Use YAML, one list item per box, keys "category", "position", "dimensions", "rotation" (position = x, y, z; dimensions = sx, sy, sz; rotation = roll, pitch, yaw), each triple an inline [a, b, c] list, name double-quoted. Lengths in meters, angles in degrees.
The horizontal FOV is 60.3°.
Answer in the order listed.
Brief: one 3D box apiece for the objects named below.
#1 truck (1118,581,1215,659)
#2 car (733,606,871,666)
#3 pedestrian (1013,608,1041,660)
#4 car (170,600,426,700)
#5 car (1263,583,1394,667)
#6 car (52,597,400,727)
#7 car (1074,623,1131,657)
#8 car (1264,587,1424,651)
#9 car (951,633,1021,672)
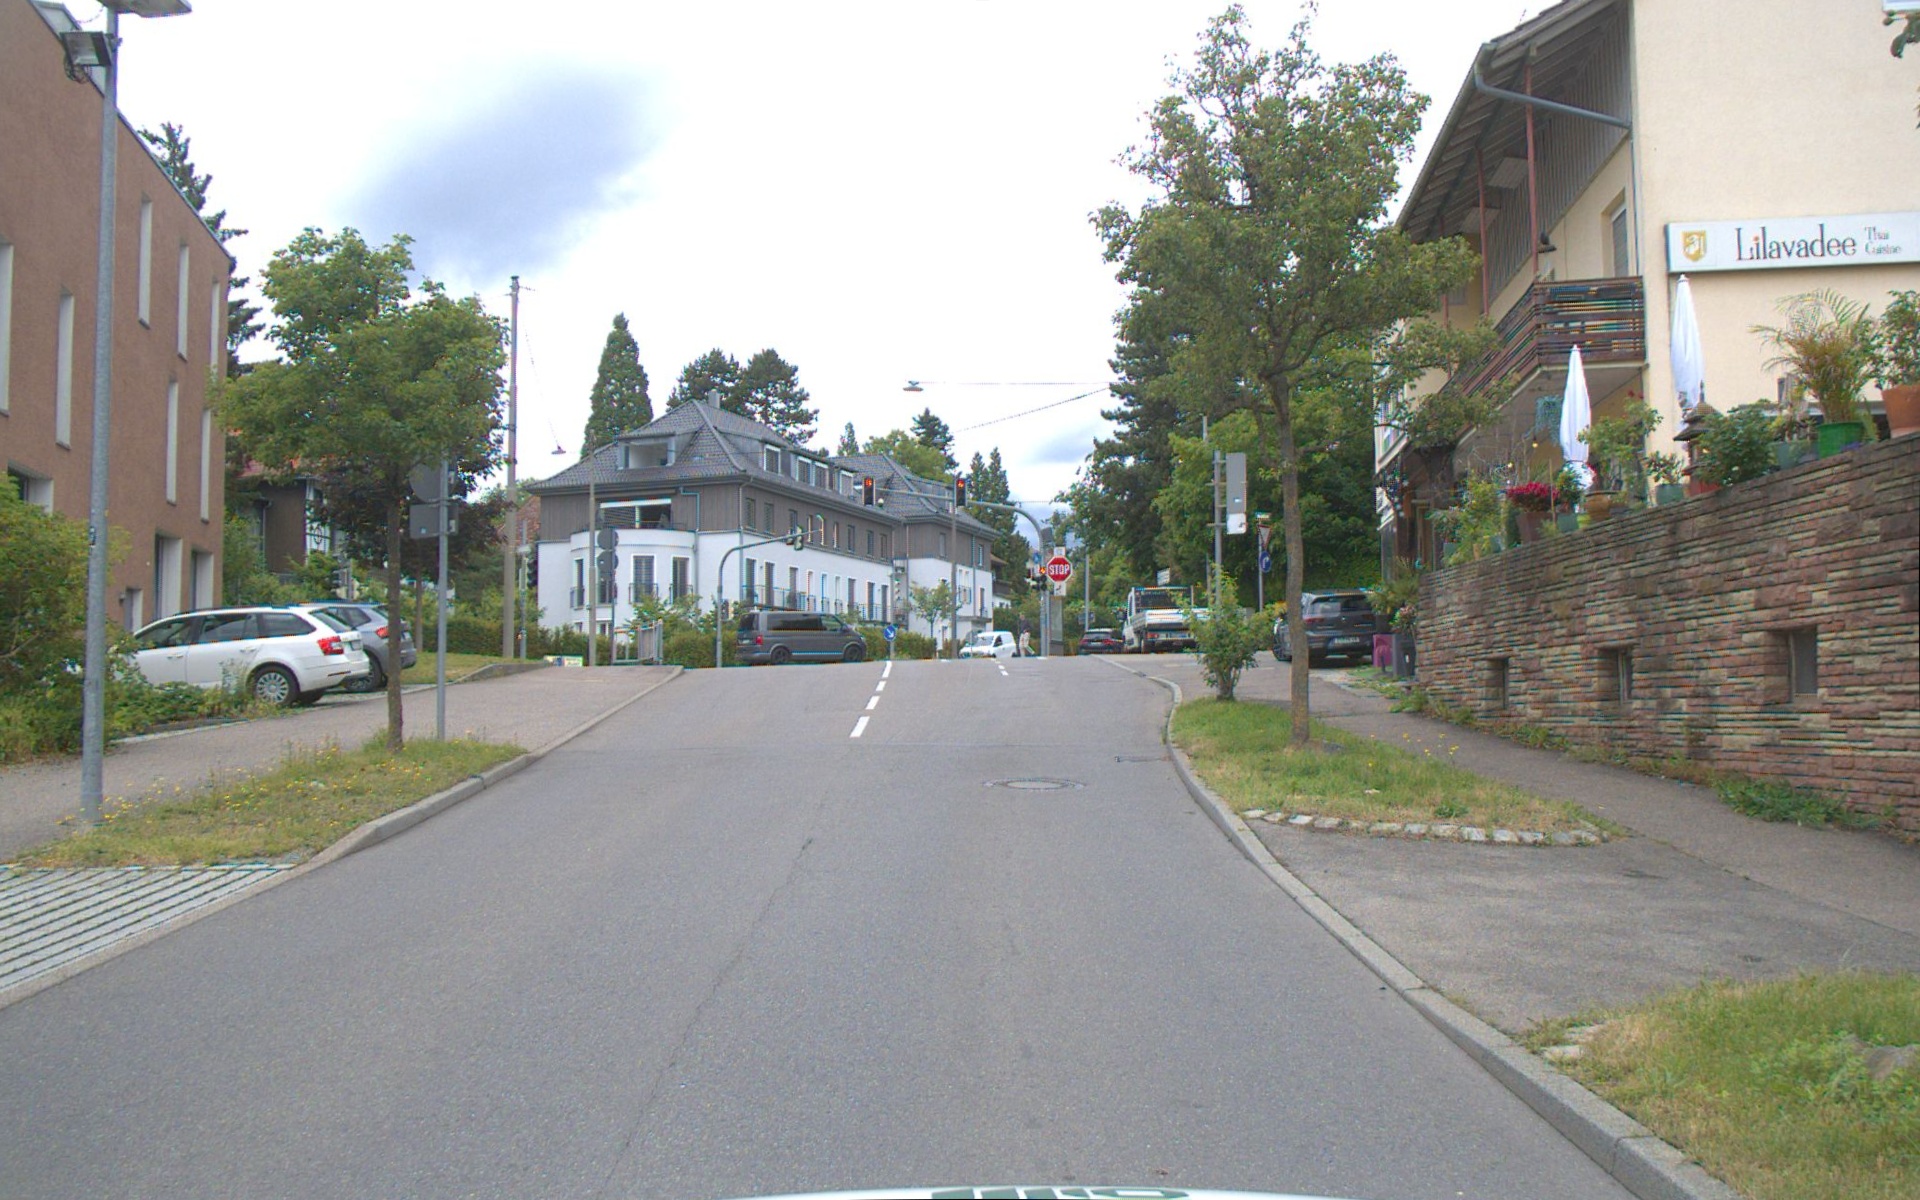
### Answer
- category: "truck"
  position: [6.569, 0.726, 53.344]
  dimensions: [2.140, 2.234, 5.878]
  rotation: [-1, -3, -2]
- category: "car"
  position: [-5.549, 1.264, 58.286]
  dimensions: [4.452, 2.049, 1.977]
  rotation: [0, -3, -33]
- category: "pedestrian"
  position: [2.245, 1.147, 55.510]
  dimensions: [0.687, 1.711, 0.682]
  rotation: [-1, 0, -20]
- category: "car"
  position: [-11.240, 0.820, 28.285]
  dimensions: [3.689, 1.489, 1.729]
  rotation: [-2, 1, -8]
- category: "car"
  position: [7.435, 0.492, 33.776]
  dimensions: [1.810, 1.498, 4.387]
  rotation: [-3, -1, 3]
- category: "car"
  position: [-10.619, 0.887, 24.210]
  dimensions: [4.177, 1.651, 2.012]
  rotation: [-2, -1, -5]
- category: "car"
  position: [6.949, 1.913, 80.134]
  dimensions: [2.108, 1.517, 4.716]
  rotation: [-1, 0, 13]
- category: "car"
  position: [10.844, 0.563, 46.659]
  dimensions: [4.153, 1.622, 1.988]
  rotation: [-2, -4, 21]
- category: "car"
  position: [1.374, 2.646, 84.282]
  dimensions: [1.954, 1.889, 4.350]
  rotation: [0, 0, 26]
